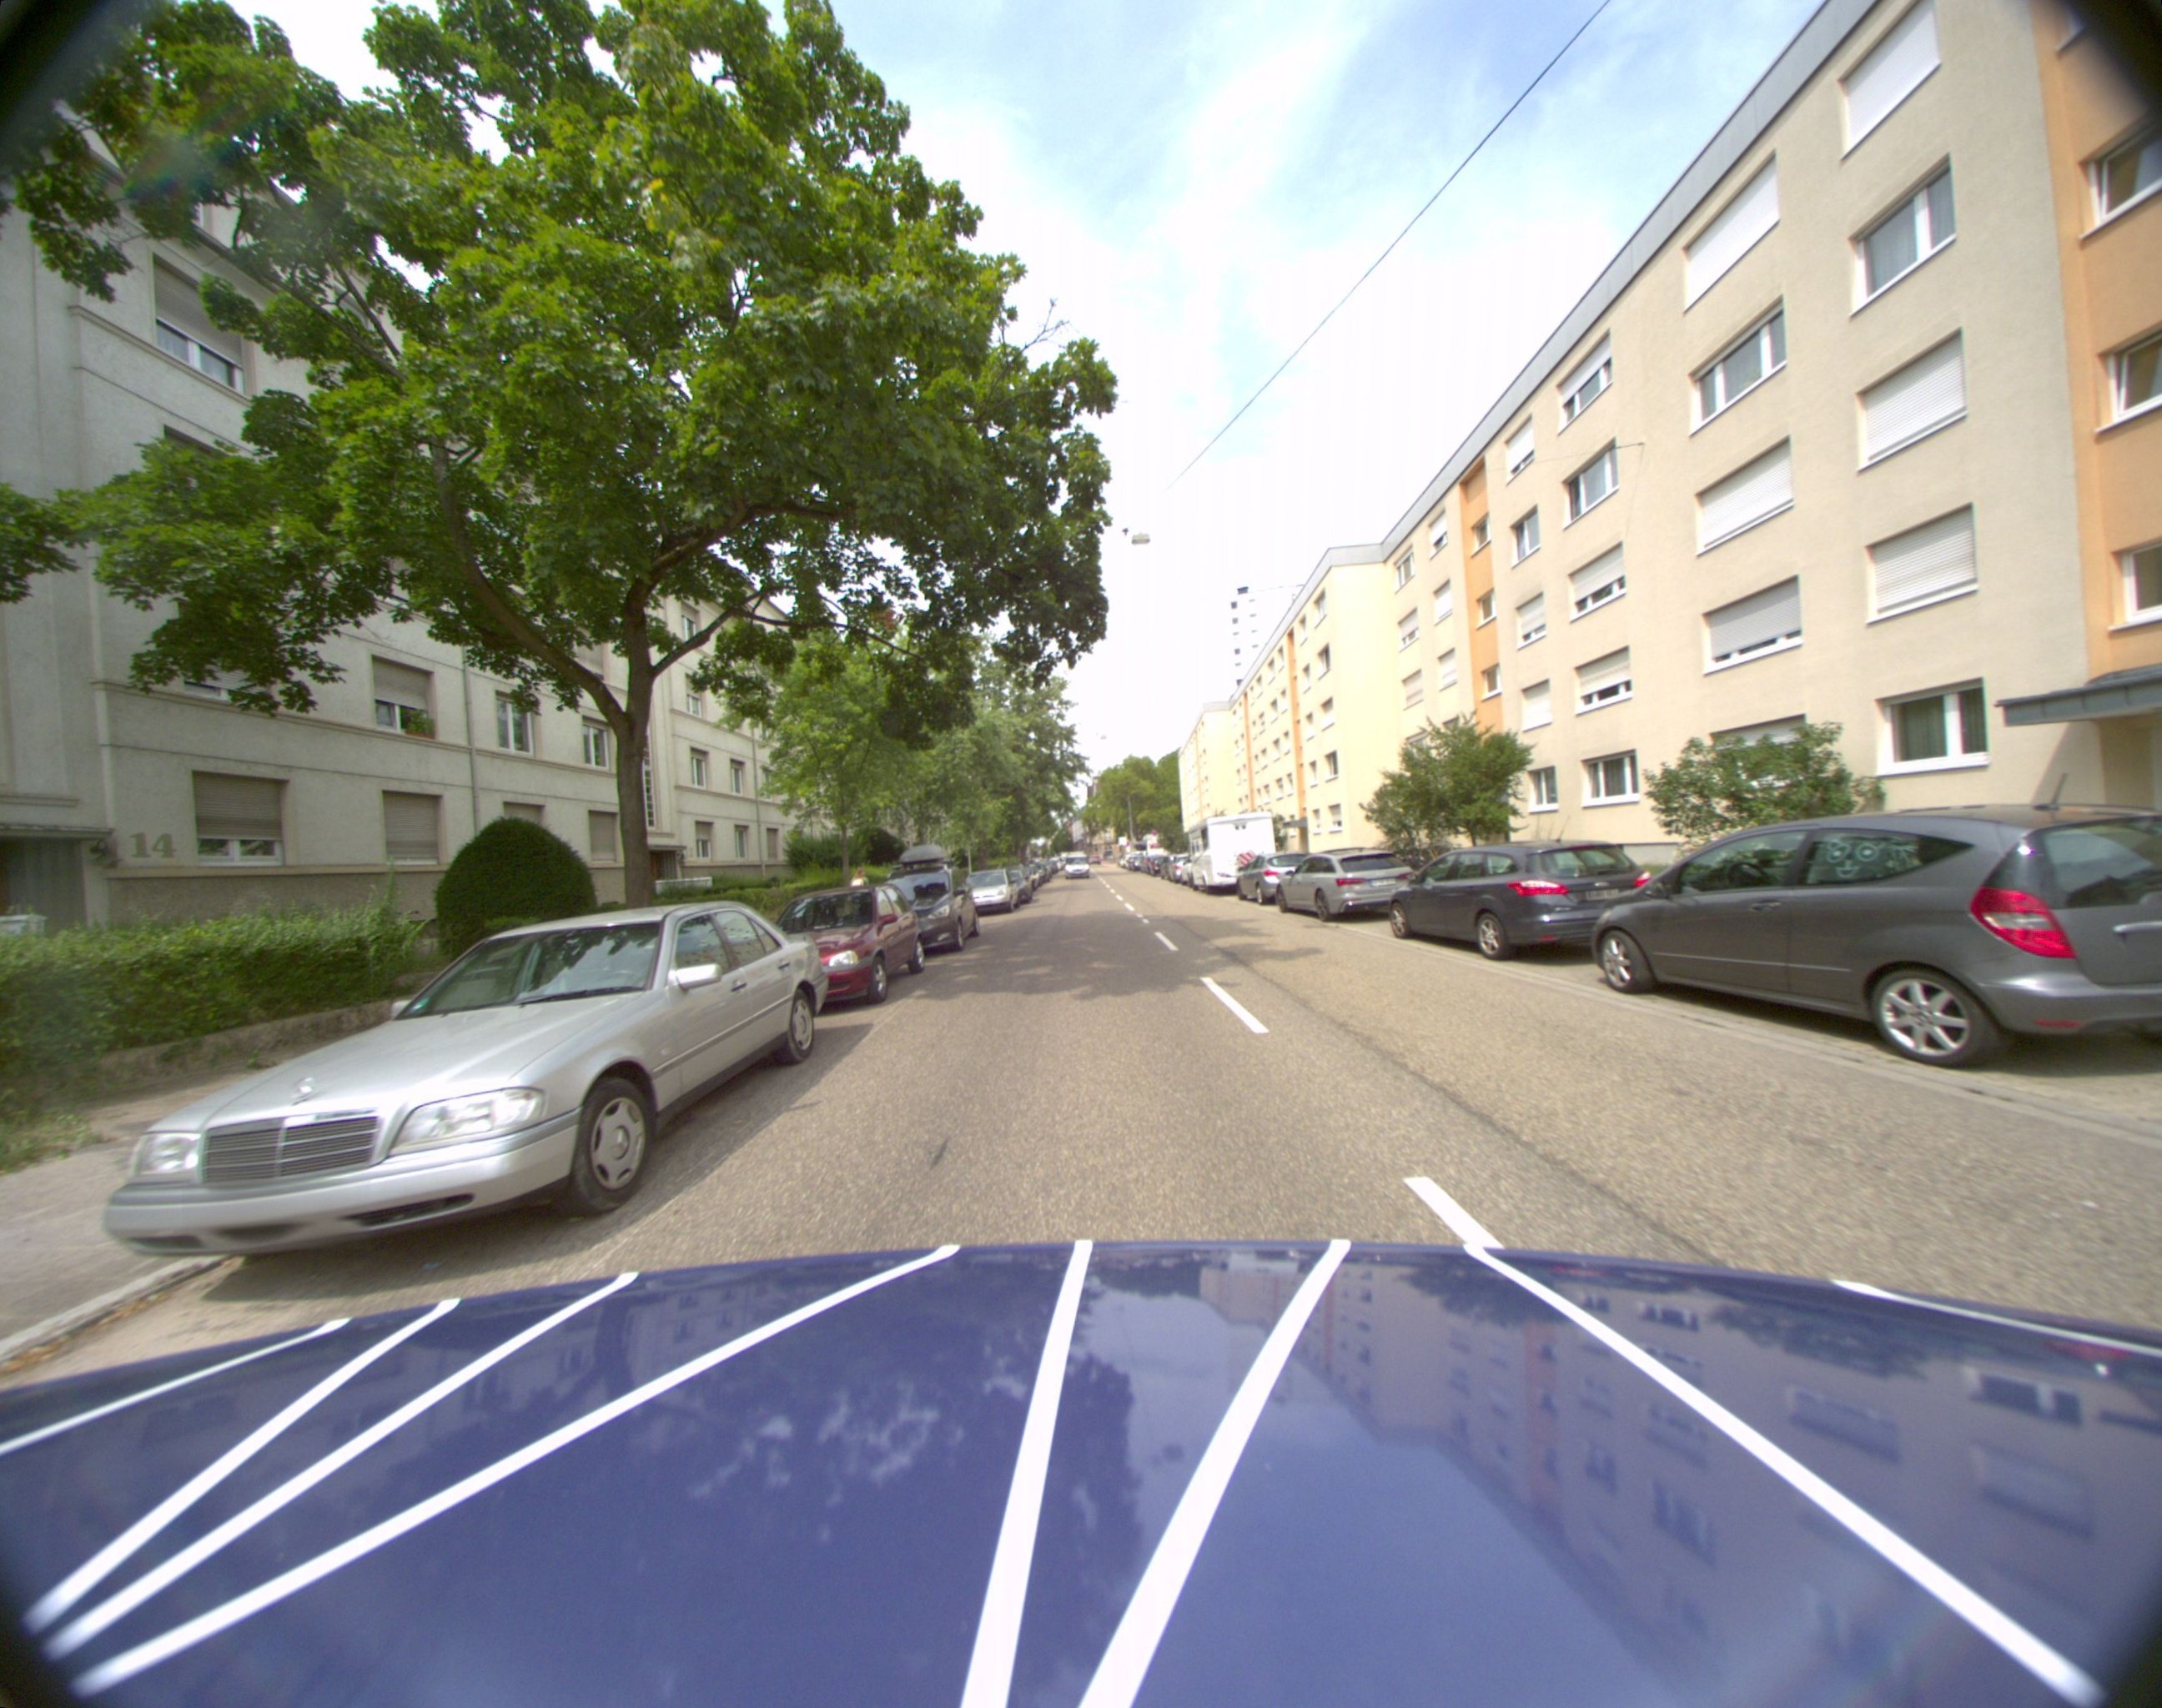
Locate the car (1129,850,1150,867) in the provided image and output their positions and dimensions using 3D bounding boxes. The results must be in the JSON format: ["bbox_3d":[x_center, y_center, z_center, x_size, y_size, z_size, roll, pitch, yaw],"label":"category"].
[{"bbox_3d":[5.859,0.456,76.534,1.806,1.625,3.895,-2,1,0],"label":"car"}]

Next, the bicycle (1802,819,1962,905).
[{"bbox_3d":[12.618,0.106,12.071,0.533,1.200,2.019,-5,0,8],"label":"bicycle"}]

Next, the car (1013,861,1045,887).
[{"bbox_3d":[-3.163,1.201,47.014,1.676,1.369,3.785,-6,0,-1],"label":"car"}]

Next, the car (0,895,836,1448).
[{"bbox_3d":[-3.160,1.181,4.812,1.676,1.442,4.643,-5,0,-1],"label":"car"}]

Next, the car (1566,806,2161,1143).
[{"bbox_3d":[5.907,0.591,5.840,1.722,1.615,3.839,-6,0,-1],"label":"car"}]

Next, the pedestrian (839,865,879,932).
[{"bbox_3d":[-6.172,1.227,21.170,0.808,1.793,0.763,-2,1,0],"label":"pedestrian"}]

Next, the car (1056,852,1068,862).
[{"bbox_3d":[-2.933,0.531,120.421,1.676,1.369,3.785,-6,0,0],"label":"car"}]

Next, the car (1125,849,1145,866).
[{"bbox_3d":[5.796,0.353,82.061,1.806,1.625,3.895,-2,1,0],"label":"car"}]

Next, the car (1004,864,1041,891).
[{"bbox_3d":[-3.164,1.272,41.856,1.676,1.235,3.785,-6,0,-1],"label":"car"}]

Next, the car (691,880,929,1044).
[{"bbox_3d":[-3.238,1.203,9.911,1.676,1.445,3.785,-6,0,-1],"label":"car"}]

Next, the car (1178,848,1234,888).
[{"bbox_3d":[5.918,0.630,36.432,1.998,1.729,3.836,-2,1,1],"label":"car"}]

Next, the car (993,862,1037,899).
[{"bbox_3d":[-3.052,1.193,35.763,1.676,1.483,3.785,-6,0,-1],"label":"car"}]

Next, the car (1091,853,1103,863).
[{"bbox_3d":[2.675,0.671,125.417,1.806,1.625,3.895,-2,1,0],"label":"car"}]

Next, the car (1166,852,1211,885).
[{"bbox_3d":[5.841,0.754,41.621,1.853,1.623,4.218,-2,1,1],"label":"car"}]

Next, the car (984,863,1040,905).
[{"bbox_3d":[-2.659,1.152,30.091,1.676,1.445,3.786,-2,0,2],"label":"car"}]

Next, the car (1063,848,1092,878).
[{"bbox_3d":[-0.212,0.635,56.495,1.998,2.002,4.000,-2,1,1],"label":"car"}]

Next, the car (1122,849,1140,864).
[{"bbox_3d":[5.722,0.249,87.610,1.806,1.625,3.895,-2,1,0],"label":"car"}]

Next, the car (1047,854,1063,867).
[{"bbox_3d":[-3.061,0.785,91.741,1.676,1.369,3.785,-6,0,0],"label":"car"}]

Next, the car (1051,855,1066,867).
[{"bbox_3d":[-2.895,0.839,96.677,1.676,1.369,3.785,-6,0,0],"label":"car"}]

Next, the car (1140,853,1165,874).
[{"bbox_3d":[5.955,0.756,63.304,1.665,1.547,3.895,-2,1,0],"label":"car"}]

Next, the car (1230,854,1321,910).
[{"bbox_3d":[5.738,0.771,22.912,1.616,1.475,4.058,-2,0,0],"label":"car"}]

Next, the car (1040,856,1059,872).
[{"bbox_3d":[-3.124,0.960,76.038,1.676,1.369,3.785,-6,0,0],"label":"car"}]

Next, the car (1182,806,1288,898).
[{"bbox_3d":[5.736,-0.055,29.563,2.621,3.040,7.114,-2,0,0],"label":"car"}]

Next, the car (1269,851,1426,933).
[{"bbox_3d":[5.770,0.733,17.119,1.722,1.498,4.624,-4,0,-2],"label":"car"}]

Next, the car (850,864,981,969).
[{"bbox_3d":[-3.096,1.087,15.067,1.676,1.666,4.271,-2,0,-1],"label":"car"}]

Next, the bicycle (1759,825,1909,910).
[{"bbox_3d":[11.977,0.185,12.188,0.533,1.200,2.019,-6,0,8],"label":"bicycle"}]

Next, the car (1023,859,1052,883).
[{"bbox_3d":[-2.966,1.147,52.577,1.676,1.369,3.785,-6,0,0],"label":"car"}]

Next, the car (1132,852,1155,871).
[{"bbox_3d":[5.873,0.659,71.551,1.806,1.625,3.895,-2,1,0],"label":"car"}]

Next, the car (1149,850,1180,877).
[{"bbox_3d":[5.849,0.628,53.644,1.723,1.787,3.895,-2,1,0],"label":"car"}]

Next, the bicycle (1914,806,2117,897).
[{"bbox_3d":[13.884,-0.040,11.394,0.534,1.200,2.018,-6,0,3],"label":"bicycle"}]

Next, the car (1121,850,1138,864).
[{"bbox_3d":[5.858,0.365,92.535,1.806,1.625,3.895,-2,1,0],"label":"car"}]

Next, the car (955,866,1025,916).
[{"bbox_3d":[-2.916,1.159,25.127,1.676,1.392,3.786,-2,0,2],"label":"car"}]

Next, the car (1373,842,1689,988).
[{"bbox_3d":[5.867,0.677,10.635,1.681,1.495,4.263,-5,0,-2],"label":"car"}]

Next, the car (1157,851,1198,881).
[{"bbox_3d":[5.956,0.713,47.171,1.844,1.670,4.217,-2,1,-1],"label":"car"}]

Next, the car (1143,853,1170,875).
[{"bbox_3d":[5.830,0.744,59.008,1.730,1.608,3.895,-2,1,0],"label":"car"}]
